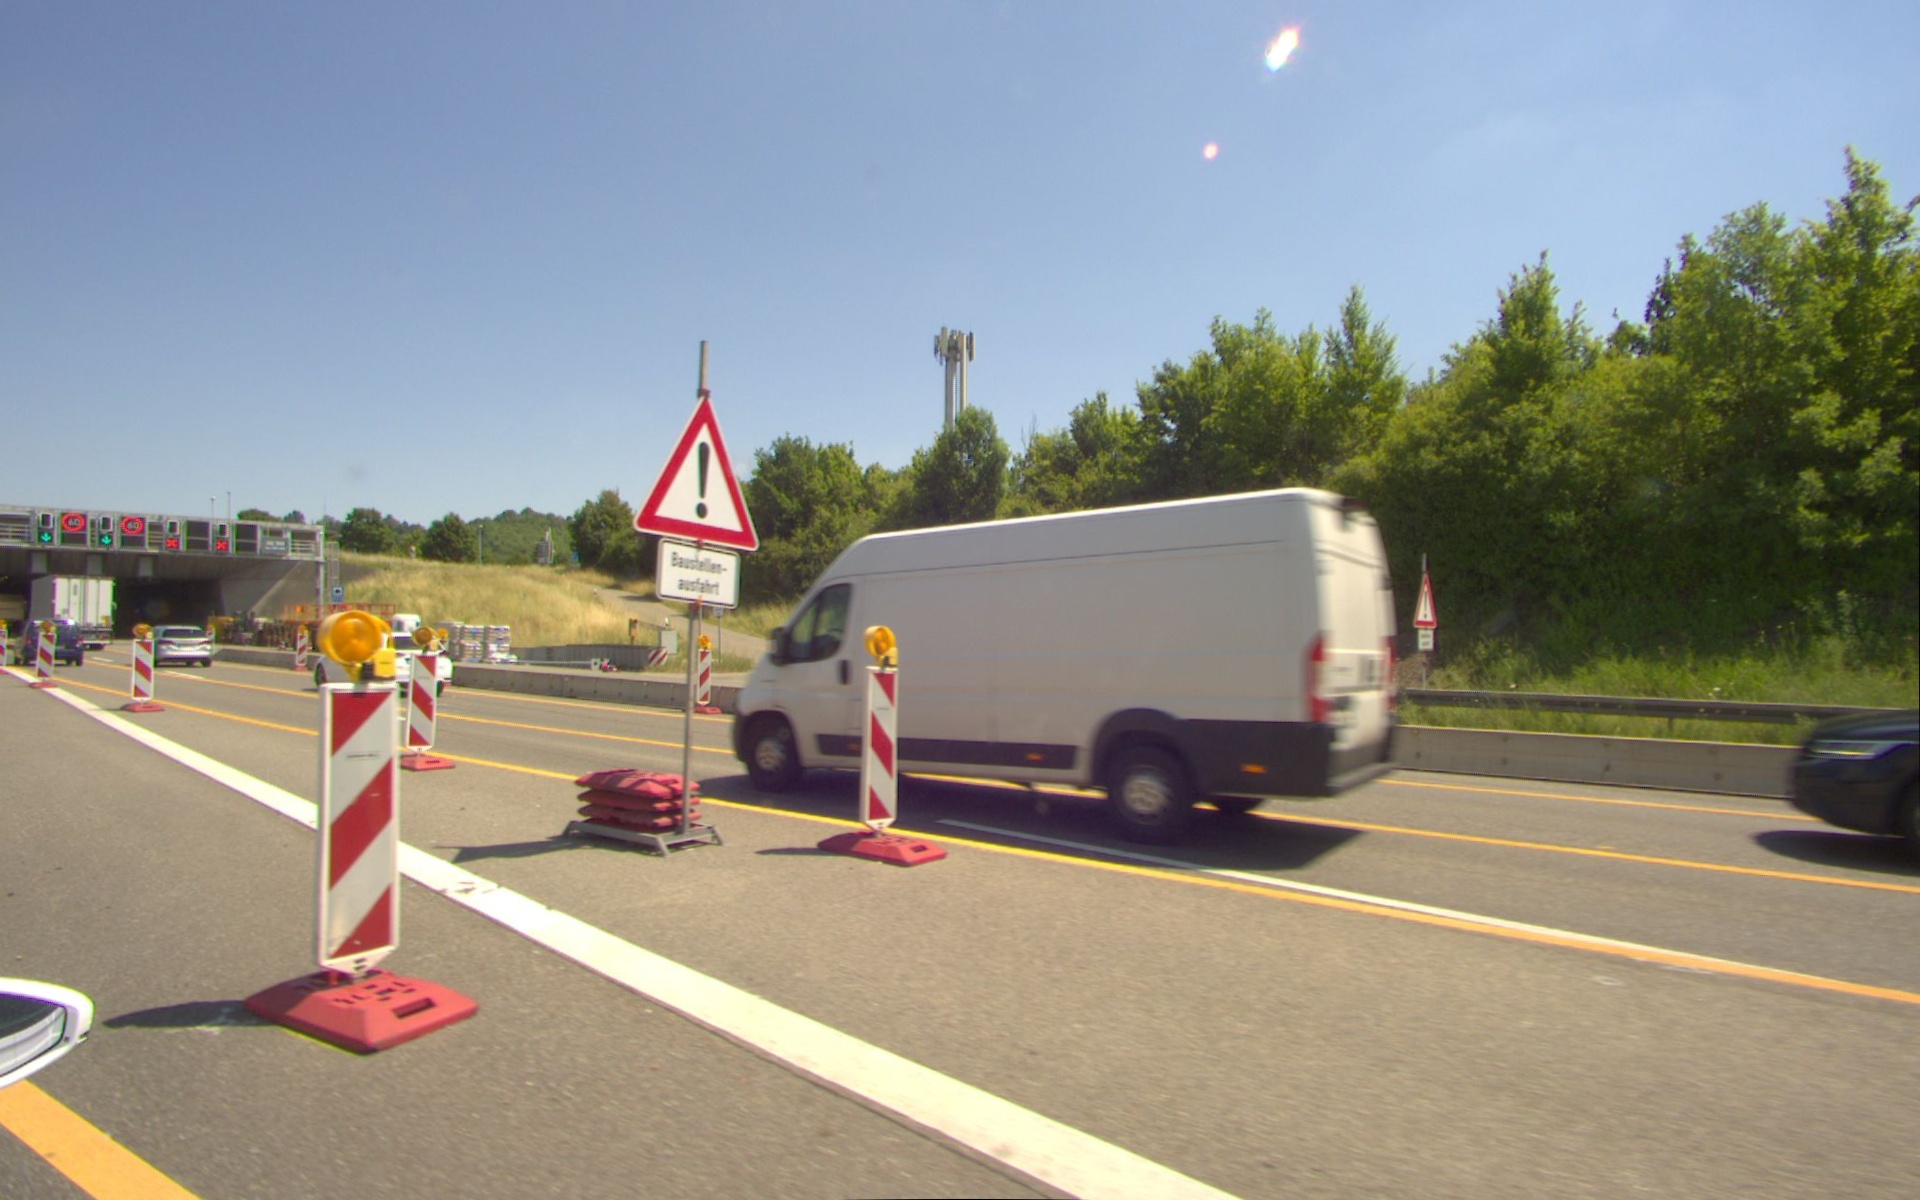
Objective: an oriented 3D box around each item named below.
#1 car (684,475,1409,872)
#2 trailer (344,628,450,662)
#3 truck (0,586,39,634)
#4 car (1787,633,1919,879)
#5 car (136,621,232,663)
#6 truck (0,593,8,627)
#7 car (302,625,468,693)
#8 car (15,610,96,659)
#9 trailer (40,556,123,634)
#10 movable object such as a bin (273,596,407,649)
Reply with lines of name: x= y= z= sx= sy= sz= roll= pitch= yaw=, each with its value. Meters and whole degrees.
car: x=0.461 y=0.563 z=9.310 sx=6.498 sy=2.568 sz=2.260 roll=-1 pitch=-2 yaw=36
trailer: x=-29.212 y=2.290 z=51.890 sx=6.157 sy=1.589 sz=2.585 roll=-1 pitch=0 yaw=38
truck: x=-98.832 y=1.195 z=103.639 sx=16.353 sy=4.388 sz=3.387 roll=-3 pitch=-4 yaw=42
car: x=8.782 y=1.072 z=6.465 sx=5.170 sy=1.683 sz=2.013 roll=-1 pitch=-2 yaw=37
car: x=-28.778 y=1.550 z=37.100 sx=4.597 sy=1.483 sz=1.808 roll=-1 pitch=-3 yaw=39
truck: x=-127.396 y=1.351 z=130.554 sx=16.351 sy=4.122 sz=3.386 roll=-2 pitch=-3 yaw=42
car: x=-13.819 y=1.428 z=23.955 sx=4.595 sy=1.482 sz=1.810 roll=-3 pitch=-5 yaw=38
car: x=-32.426 y=1.247 z=35.847 sx=4.604 sy=1.663 sz=1.805 roll=-2 pitch=-3 yaw=44
trailer: x=-52.190 y=-0.067 z=59.308 sx=2.717 sy=4.112 sz=13.954 roll=3 pitch=-3 yaw=-45
movable object such as a bin: x=-39.164 y=1.402 z=62.810 sx=14.535 sy=3.050 sz=3.095 roll=-1 pitch=0 yaw=42
